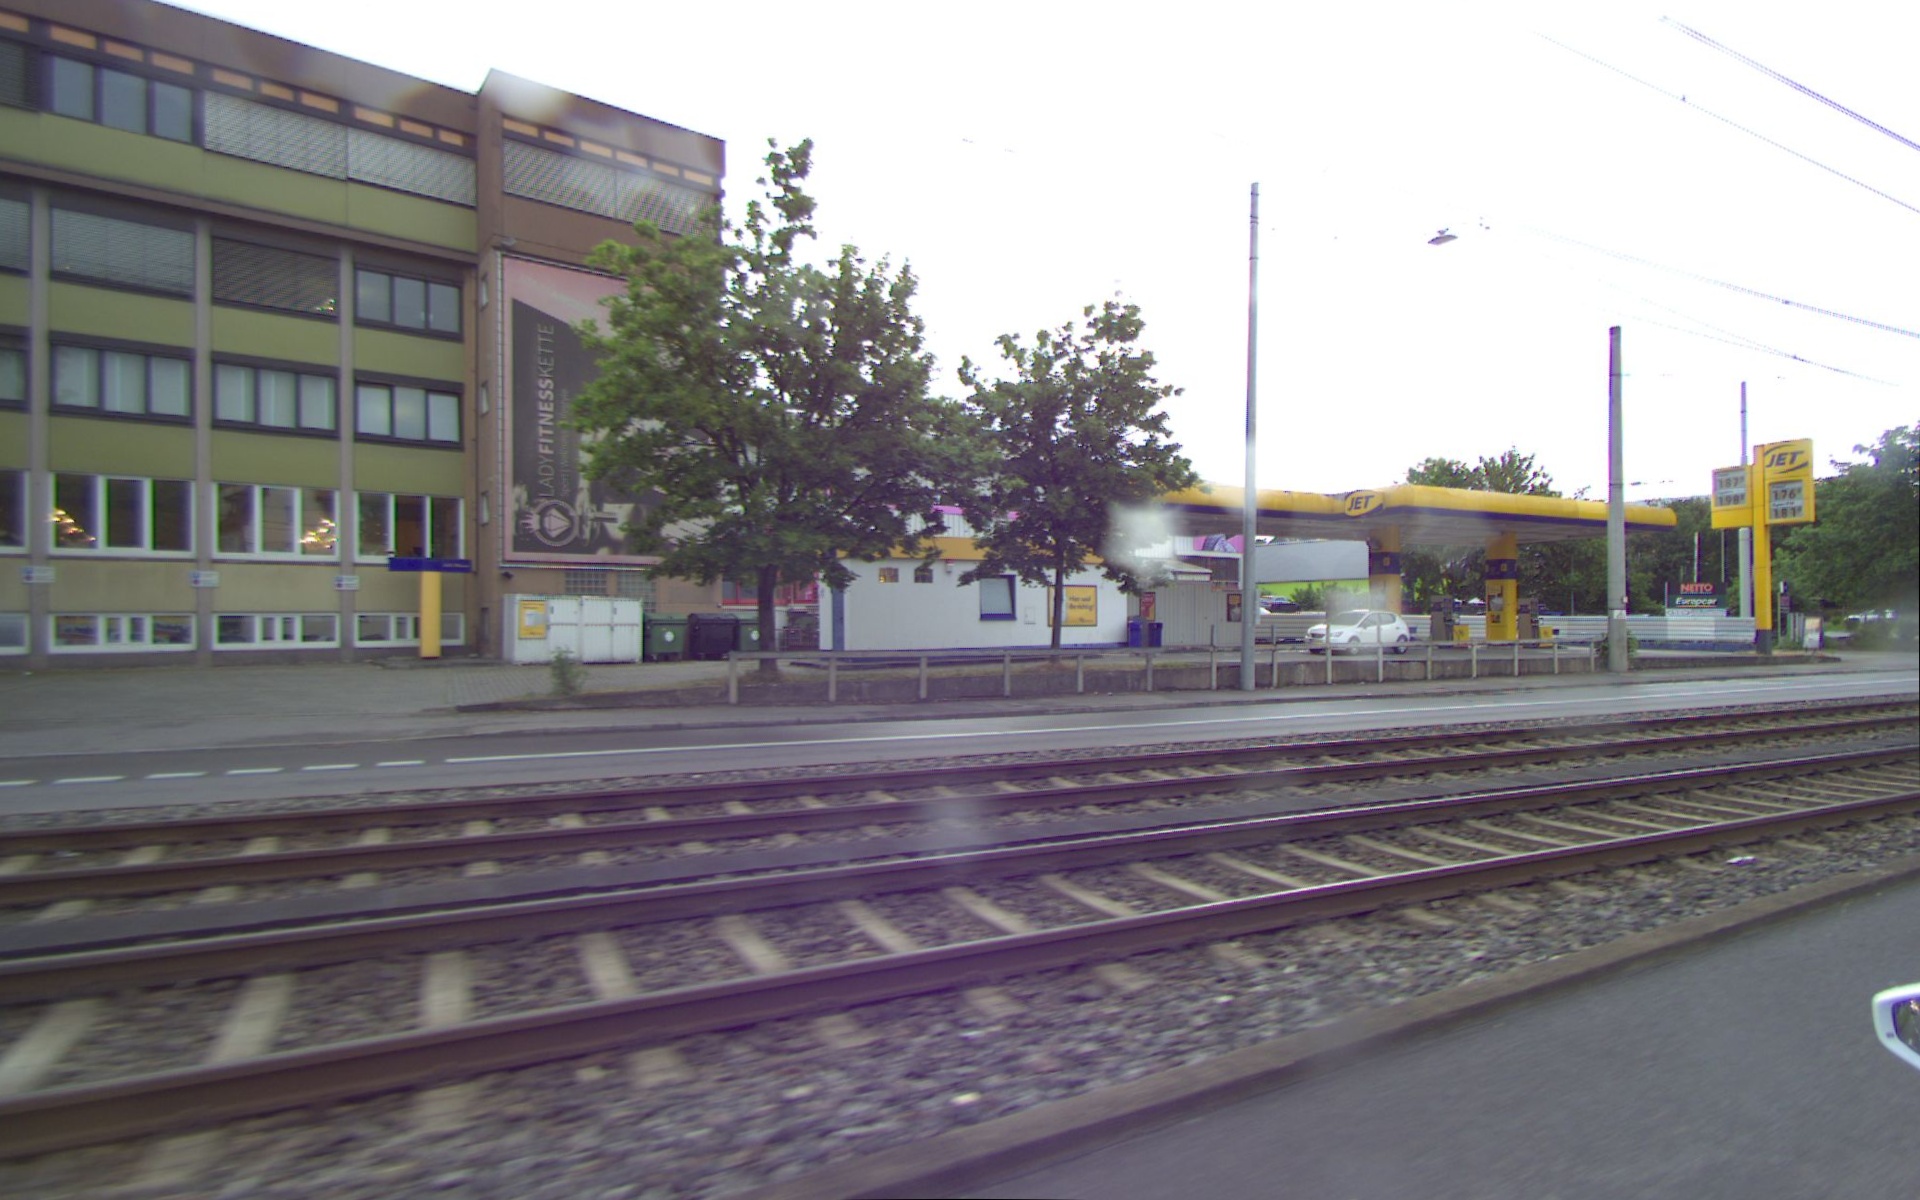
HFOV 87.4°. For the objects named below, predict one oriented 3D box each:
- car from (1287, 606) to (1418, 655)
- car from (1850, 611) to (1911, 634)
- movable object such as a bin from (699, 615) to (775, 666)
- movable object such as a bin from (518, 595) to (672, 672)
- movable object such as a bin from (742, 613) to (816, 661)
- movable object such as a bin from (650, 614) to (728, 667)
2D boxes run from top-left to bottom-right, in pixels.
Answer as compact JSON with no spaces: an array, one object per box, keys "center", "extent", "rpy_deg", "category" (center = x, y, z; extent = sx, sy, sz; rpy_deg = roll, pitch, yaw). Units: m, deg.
[{"center":[13.076,1.024,33.406],"extent":[3.952,1.461,1.985],"rpy_deg":[2,0,-29],"category":"car"},{"center":[87.519,2.124,95.524],"extent":[1.983,2.040,3.955],"rpy_deg":[2,0,-38],"category":"car"},{"center":[-6.742,1.190,30.287],"extent":[1.555,1.394,1.978],"rpy_deg":[0,1,-37],"category":"movable object such as a bin"},{"center":[-9.936,0.852,27.380],"extent":[3.539,1.945,1.978],"rpy_deg":[0,1,-38],"category":"movable object such as a bin"},{"center":[-5.664,1.126,31.441],"extent":[1.555,1.394,1.978],"rpy_deg":[0,1,-37],"category":"movable object such as a bin"},{"center":[-7.872,1.146,29.127],"extent":[1.555,1.394,1.978],"rpy_deg":[0,1,-37],"category":"movable object such as a bin"}]
